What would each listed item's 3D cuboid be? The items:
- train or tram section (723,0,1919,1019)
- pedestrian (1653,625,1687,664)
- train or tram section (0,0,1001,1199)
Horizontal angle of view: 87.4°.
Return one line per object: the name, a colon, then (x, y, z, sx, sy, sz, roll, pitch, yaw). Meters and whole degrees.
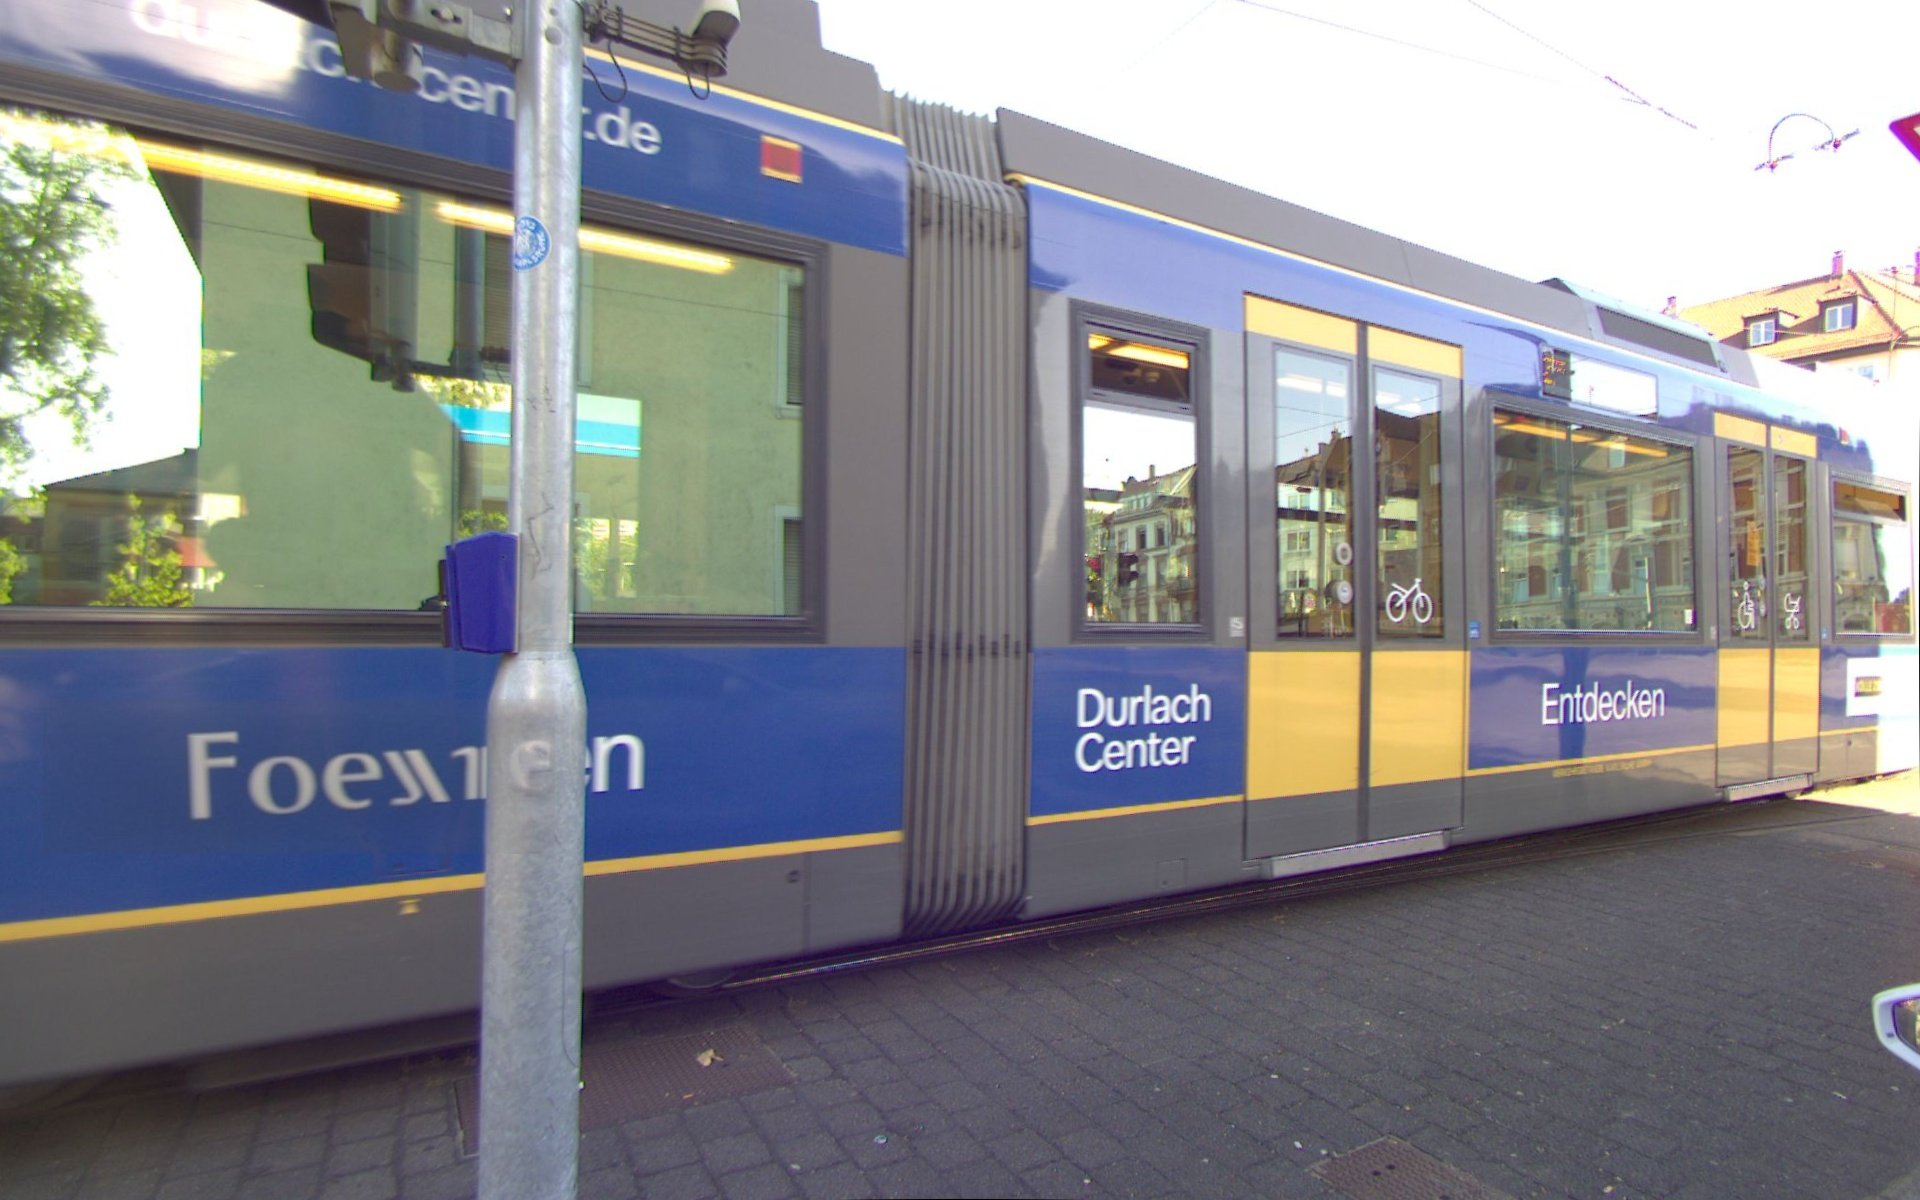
train or tram section: (4.462, -0.264, 7.571, 11.889, 3.546, 2.757, 1, -1, -31)
pedestrian: (34.074, 2.126, 48.207, 0.926, 1.798, 1.006, 1, -1, -15)
train or tram section: (-4.166, -0.480, 2.492, 8.362, 3.546, 2.801, 1, -1, -30)
